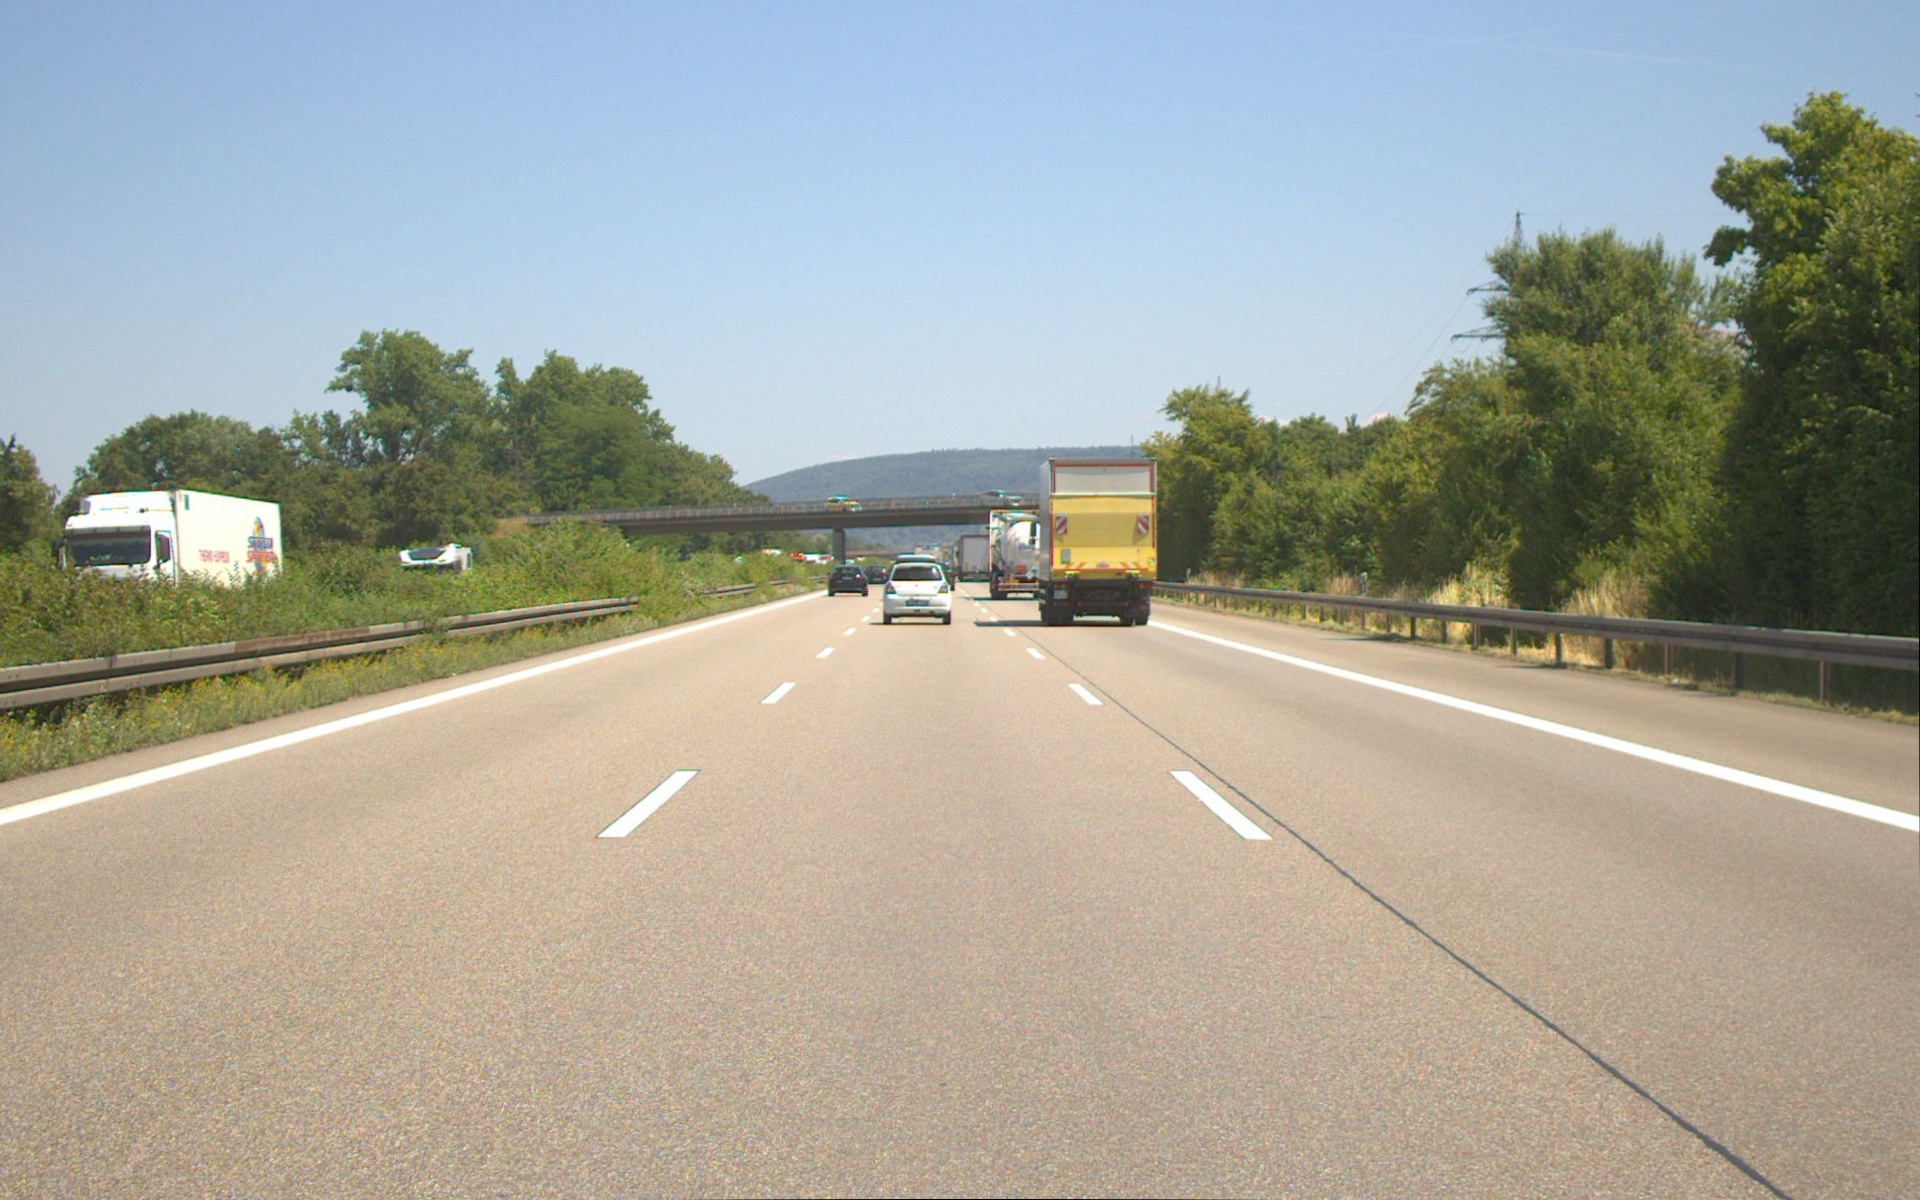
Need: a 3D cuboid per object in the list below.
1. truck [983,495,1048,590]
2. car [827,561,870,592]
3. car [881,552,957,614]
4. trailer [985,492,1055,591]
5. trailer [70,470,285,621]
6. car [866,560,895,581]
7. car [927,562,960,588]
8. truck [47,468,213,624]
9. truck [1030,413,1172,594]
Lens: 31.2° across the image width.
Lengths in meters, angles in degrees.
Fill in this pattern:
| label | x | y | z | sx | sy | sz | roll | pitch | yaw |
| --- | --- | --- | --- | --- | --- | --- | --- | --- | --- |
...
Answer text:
| label | x | y | z | sx | sy | sz | roll | pitch | yaw |
| --- | --- | --- | --- | --- | --- | --- | --- | --- | --- |
| truck | 2.431 | -2.524 | 151.682 | 2.573 | 4.058 | 6.393 | 1 | 1 | -1 |
| car | -5.135 | -1.097 | 158.415 | 1.835 | 1.382 | 4.000 | 1 | 1 | 0 |
| car | -1.010 | -0.438 | 85.550 | 1.806 | 1.463 | 4.000 | 1 | 1 | 0 |
| trailer | 2.516 | -2.472 | 147.024 | 2.580 | 4.060 | 11.104 | 1 | 1 | -1 |
| trailer | -21.629 | -1.482 | 95.986 | 2.933 | 3.856 | 13.911 | 1 | 1 | -1 |
| car | -5.293 | -1.962 | 229.053 | 1.835 | 1.382 | 4.000 | 1 | 1 | 0 |
| car | -0.937 | -1.428 | 193.940 | 1.835 | 1.382 | 4.000 | 1 | 1 | 0 |
| truck | -21.538 | -1.397 | 89.488 | 2.933 | 3.856 | 5.752 | 1 | 1 | -1 |
| truck | 3.419 | -2.335 | 86.166 | 2.933 | 4.185 | 10.682 | 1 | 1 | -1 |
